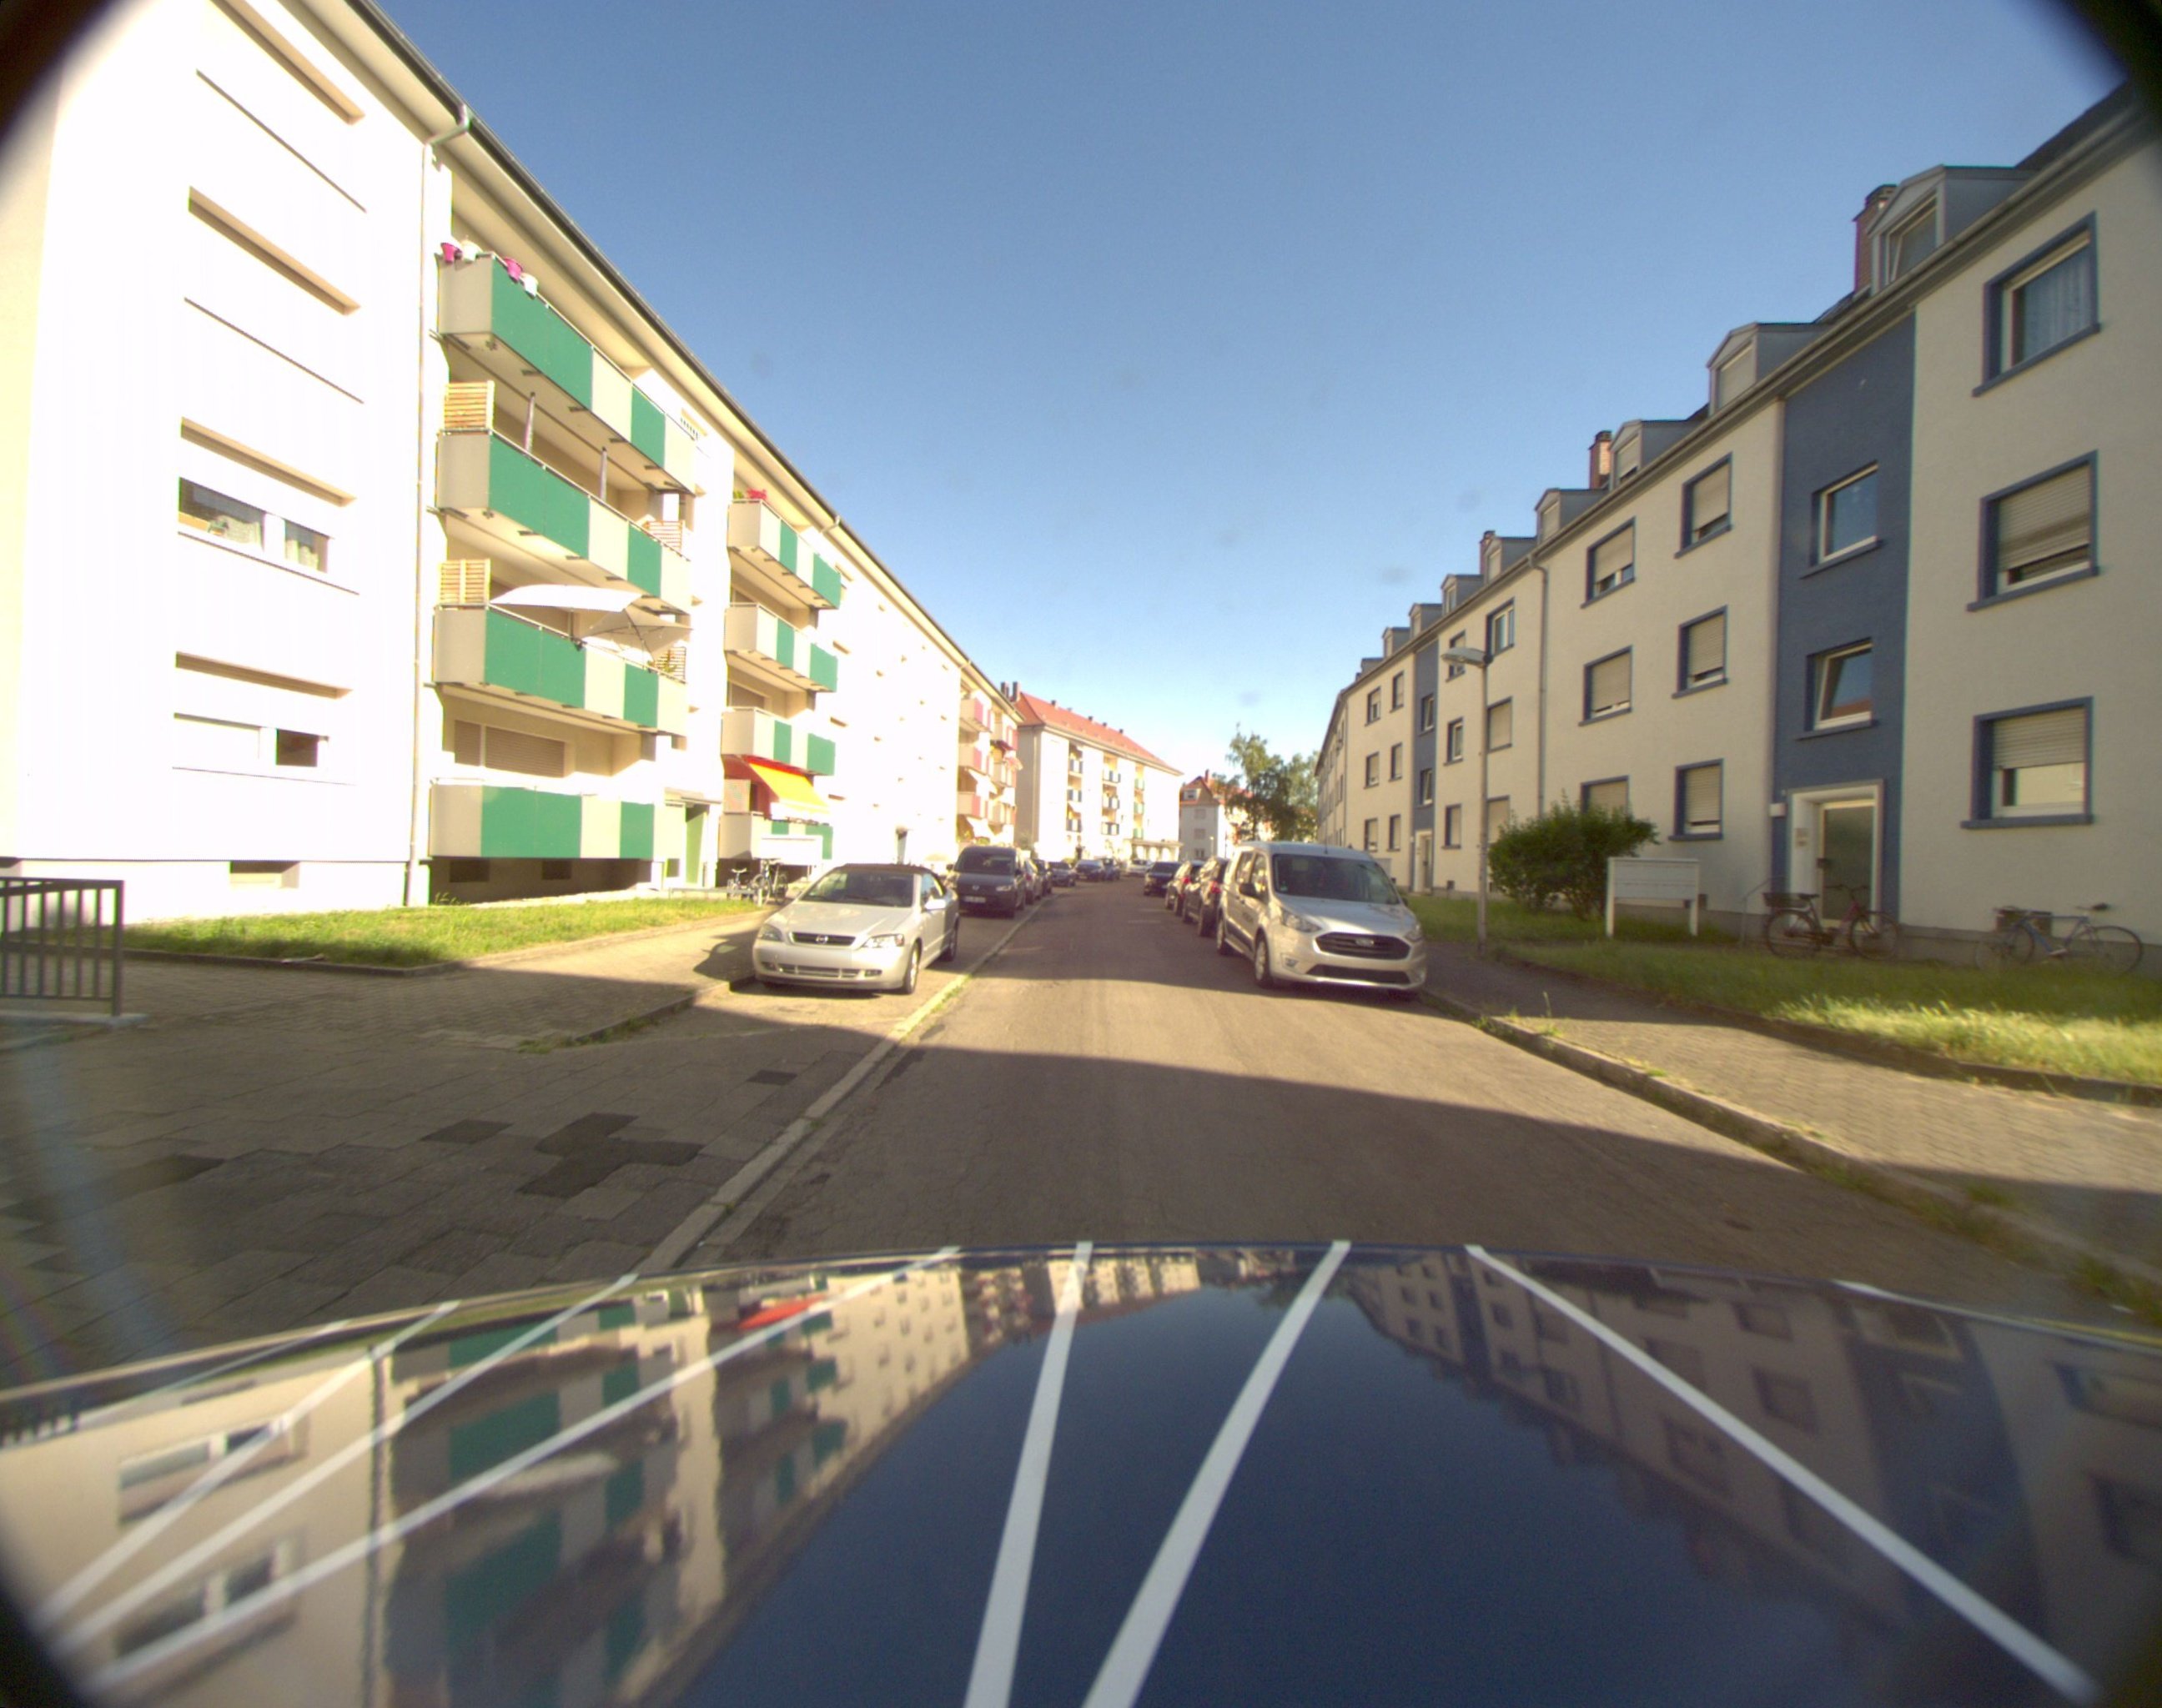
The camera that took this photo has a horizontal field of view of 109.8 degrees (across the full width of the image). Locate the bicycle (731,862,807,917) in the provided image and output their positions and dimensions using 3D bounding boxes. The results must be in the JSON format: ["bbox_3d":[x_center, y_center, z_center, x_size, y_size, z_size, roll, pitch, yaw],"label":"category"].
[{"bbox_3d":[-6.695,0.721,16.428,0.506,1.086,2.076,0,0,9],"label":"bicycle"}]

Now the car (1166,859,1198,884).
[{"bbox_3d":[7.119,1.216,53.242,1.639,1.539,3.653,4,0,15],"label":"car"}]

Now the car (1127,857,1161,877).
[{"bbox_3d":[5.631,1.152,67.219,1.754,1.625,4.413,3,0,21],"label":"car"}]

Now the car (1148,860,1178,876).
[{"bbox_3d":[7.896,1.311,72.882,1.754,1.420,4.475,3,0,21],"label":"car"}]

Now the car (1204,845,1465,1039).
[{"bbox_3d":[2.931,0.888,10.075,1.804,1.819,4.949,4,0,2],"label":"car"}]

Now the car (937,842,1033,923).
[{"bbox_3d":[-2.427,0.682,20.385,1.763,1.829,4.920,3,0,1],"label":"car"}]

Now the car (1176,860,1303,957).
[{"bbox_3d":[3.116,0.993,15.785,1.677,1.582,4.164,5,0,1],"label":"car"}]

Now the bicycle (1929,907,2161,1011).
[{"bbox_3d":[11.640,1.197,9.183,0.500,0.956,2.075,-2,0,2],"label":"bicycle"}]

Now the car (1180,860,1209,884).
[{"bbox_3d":[8.829,1.357,58.678,1.639,1.692,3.653,4,0,16],"label":"car"}]

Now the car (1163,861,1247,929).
[{"bbox_3d":[3.254,1.028,20.584,1.648,1.510,3.702,5,0,2],"label":"car"}]

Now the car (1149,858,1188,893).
[{"bbox_3d":[4.305,1.033,37.588,1.745,1.507,3.985,4,0,6],"label":"car"}]

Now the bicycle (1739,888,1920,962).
[{"bbox_3d":[10.811,1.018,11.013,2.073,0.956,0.501,-2,0,1],"label":"bicycle"}]

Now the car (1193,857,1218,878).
[{"bbox_3d":[10.638,1.163,64.936,1.639,1.631,3.653,4,0,15],"label":"car"}]

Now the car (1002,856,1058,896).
[{"bbox_3d":[-1.962,0.829,30.408,1.667,1.440,3.861,3,0,4],"label":"car"}]

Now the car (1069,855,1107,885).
[{"bbox_3d":[0.508,1.031,49.219,1.580,1.752,4.243,3,0,12],"label":"car"}]

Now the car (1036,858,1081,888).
[{"bbox_3d":[-1.114,0.939,39.424,1.676,1.411,3.862,3,0,8],"label":"car"}]

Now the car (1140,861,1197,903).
[{"bbox_3d":[3.460,1.071,30.804,1.904,1.450,4.397,4,0,3],"label":"car"}]

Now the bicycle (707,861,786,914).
[{"bbox_3d":[-7.238,0.695,16.556,0.506,1.038,2.076,0,0,9],"label":"bicycle"}]

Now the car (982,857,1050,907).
[{"bbox_3d":[-2.105,0.882,25.435,1.643,1.450,3.861,3,0,4],"label":"car"}]

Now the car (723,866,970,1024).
[{"bbox_3d":[-2.623,0.930,9.631,1.746,1.398,4.313,3,0,0],"label":"car"}]

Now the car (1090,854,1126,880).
[{"bbox_3d":[1.984,0.920,55.043,1.755,1.724,4.005,-3,-1,13],"label":"car"}]
